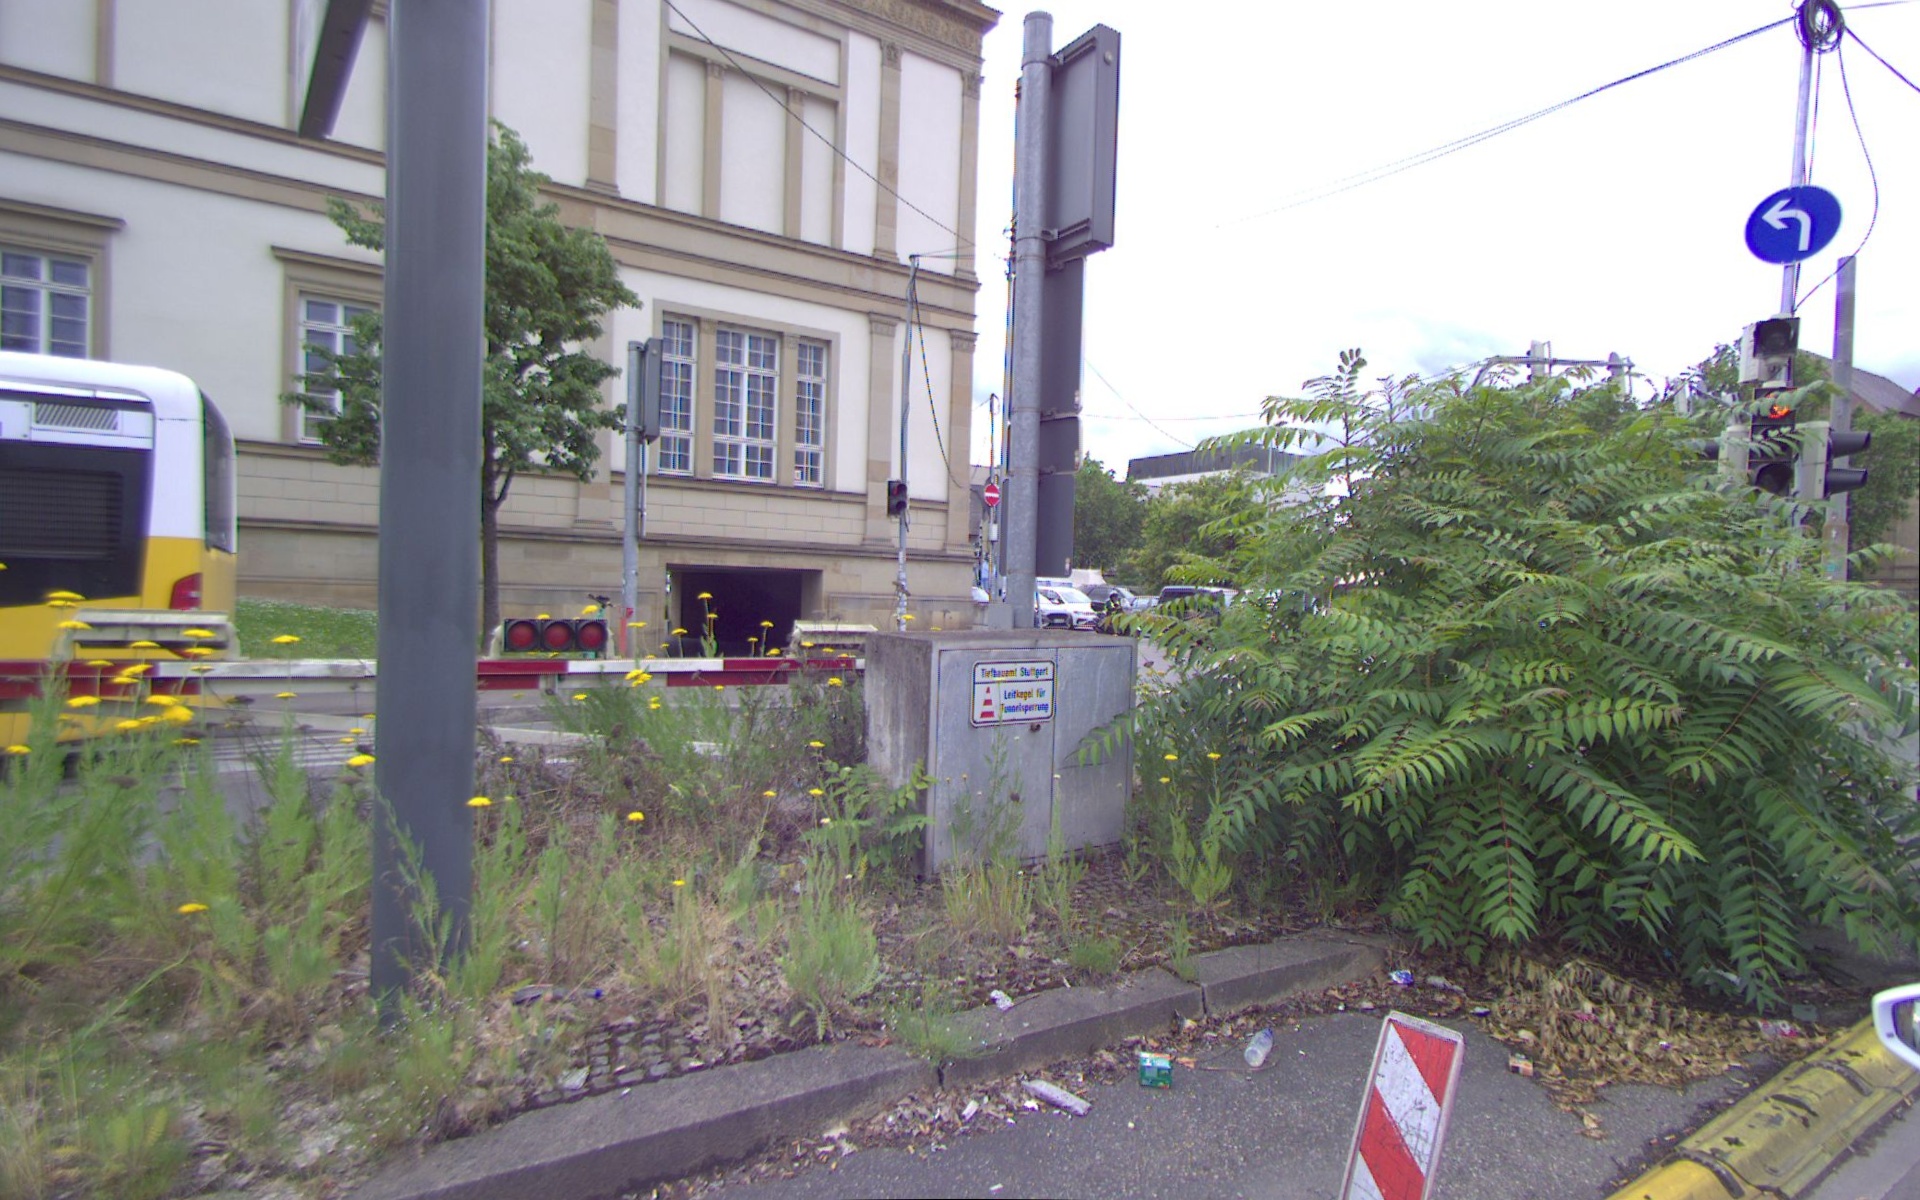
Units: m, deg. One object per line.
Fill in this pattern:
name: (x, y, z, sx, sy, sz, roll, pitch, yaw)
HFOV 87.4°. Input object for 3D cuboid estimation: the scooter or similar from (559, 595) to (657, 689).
scooter or similar: (-4.938, 0.589, 14.142, 1.132, 1.190, 0.540, 6, 0, -10)

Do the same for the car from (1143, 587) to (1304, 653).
car: (7.569, 0.527, 29.257, 1.979, 1.698, 4.285, 1, 1, -34)

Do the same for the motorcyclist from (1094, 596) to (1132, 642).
motorcyclist: (4.995, 0.609, 32.774, 0.738, 1.442, 0.959, 1, 1, -35)

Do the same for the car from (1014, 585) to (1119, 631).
car: (4.266, 0.301, 40.931, 1.979, 1.698, 4.285, 1, 1, -34)

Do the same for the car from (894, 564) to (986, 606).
car: (-0.937, -0.663, 43.692, 1.979, 1.698, 4.285, 1, 1, -34)

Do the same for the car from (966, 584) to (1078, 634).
car: (2.241, 0.315, 37.548, 1.979, 1.698, 4.285, 1, 1, -34)

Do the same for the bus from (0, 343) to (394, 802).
bus: (-9.170, -0.253, 6.993, 9.018, 3.156, 2.830, 1, 1, -32)

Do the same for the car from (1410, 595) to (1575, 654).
car: (17.134, 0.741, 32.457, 1.986, 1.698, 4.271, 1, 1, -43)

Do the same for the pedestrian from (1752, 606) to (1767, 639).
pedestrian: (49.748, 1.371, 62.510, 0.516, 2.040, 0.428, 2, 1, 17)

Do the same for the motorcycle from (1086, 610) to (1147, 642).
motorcycle: (5.076, 0.827, 32.660, 0.749, 0.937, 2.042, 1, 1, -35)
